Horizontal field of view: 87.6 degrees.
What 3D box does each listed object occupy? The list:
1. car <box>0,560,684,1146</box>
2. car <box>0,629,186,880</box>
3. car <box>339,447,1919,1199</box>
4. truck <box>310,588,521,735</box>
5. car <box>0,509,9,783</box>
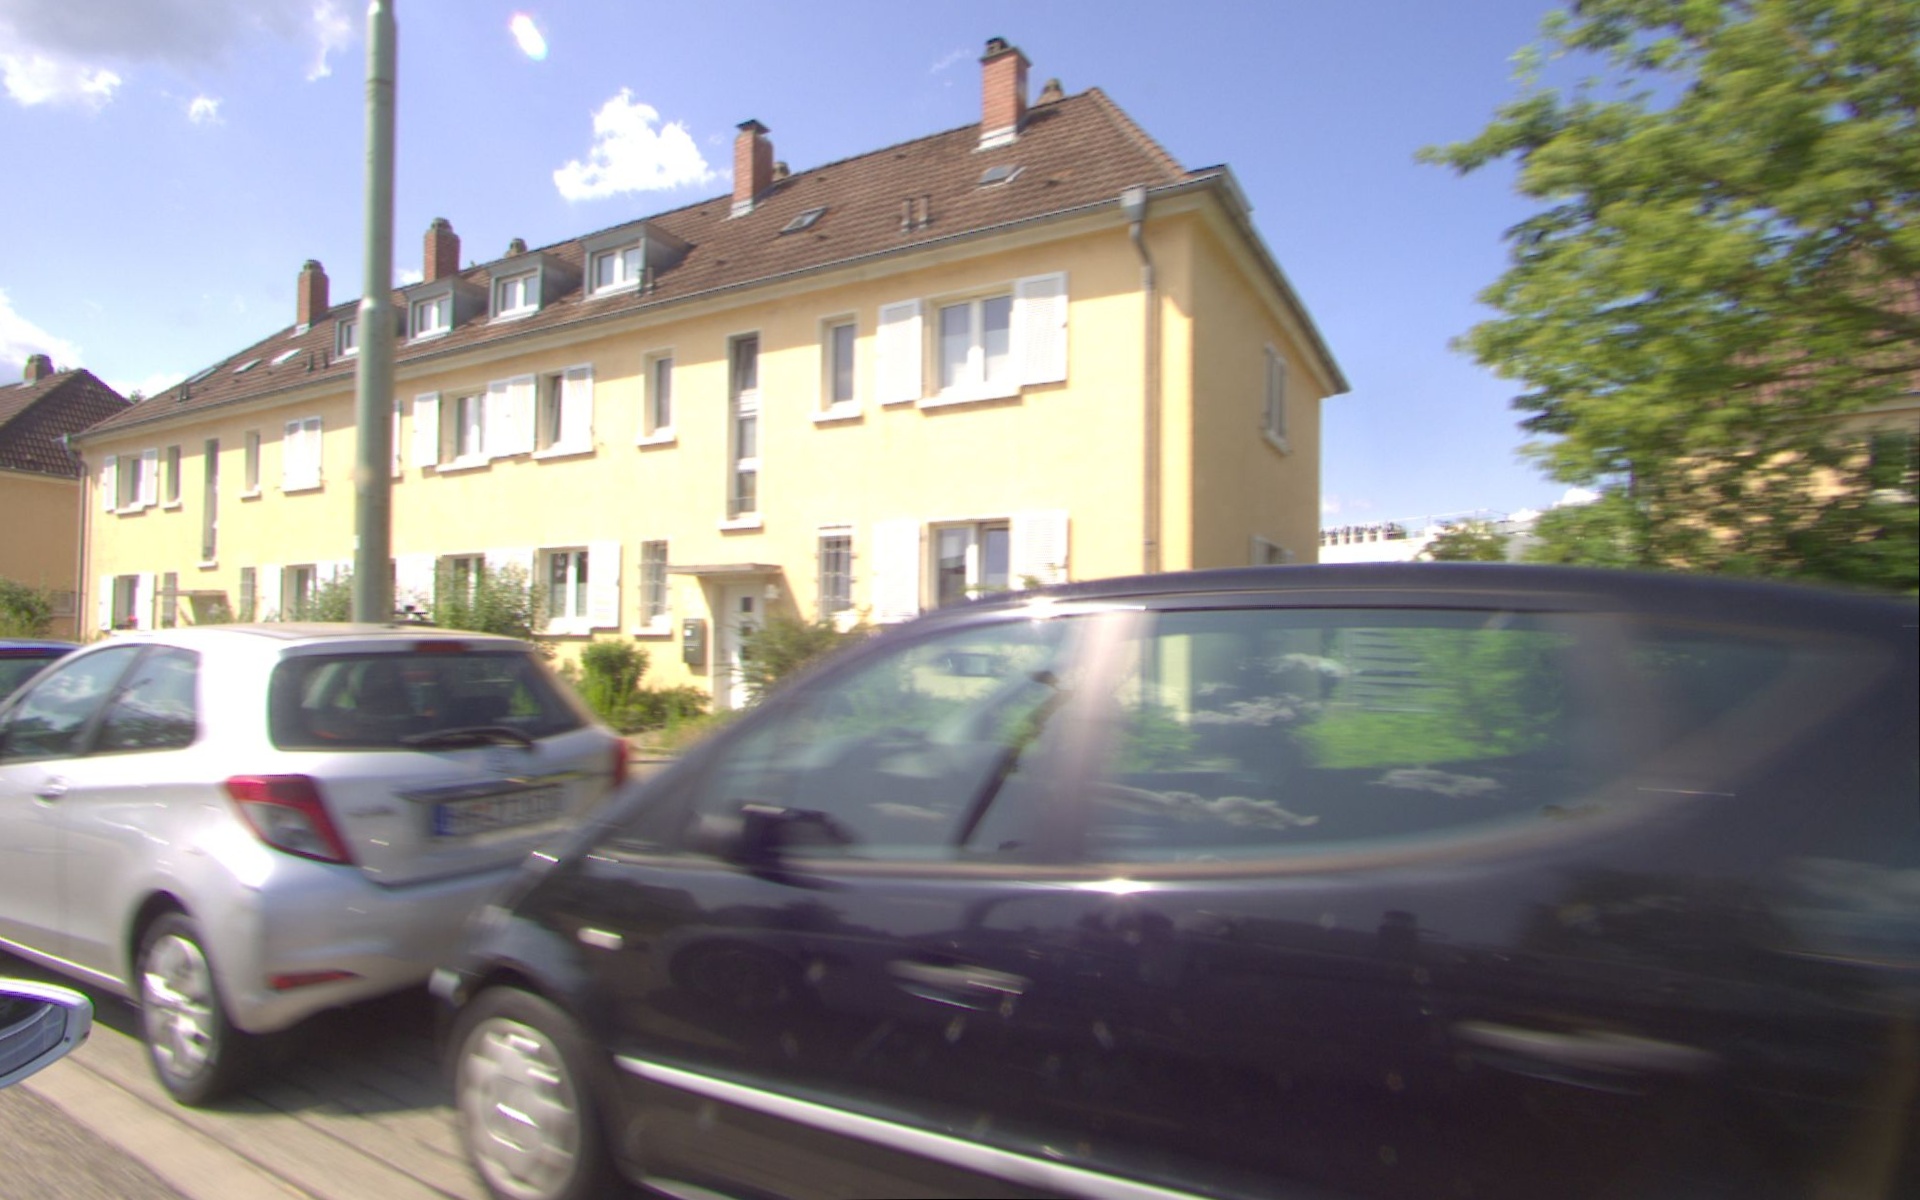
[{"bbox_3d":[-3.280,0.758,4.540,3.971,1.622,1.634,-1,-3,32],"label":"car"},{"bbox_3d":[-7.109,0.926,6.937,3.683,1.463,1.534,-1,-3,32],"label":"car"},{"bbox_3d":[0.384,0.681,2.526,3.872,1.622,1.635,0,-3,30],"label":"car"},{"bbox_3d":[-6.985,0.764,12.842,2.405,1.710,1.345,-1,-2,31],"label":"truck"},{"bbox_3d":[-11.585,0.427,9.755,5.435,2.512,1.927,-1,-1,30],"label":"car"}]
